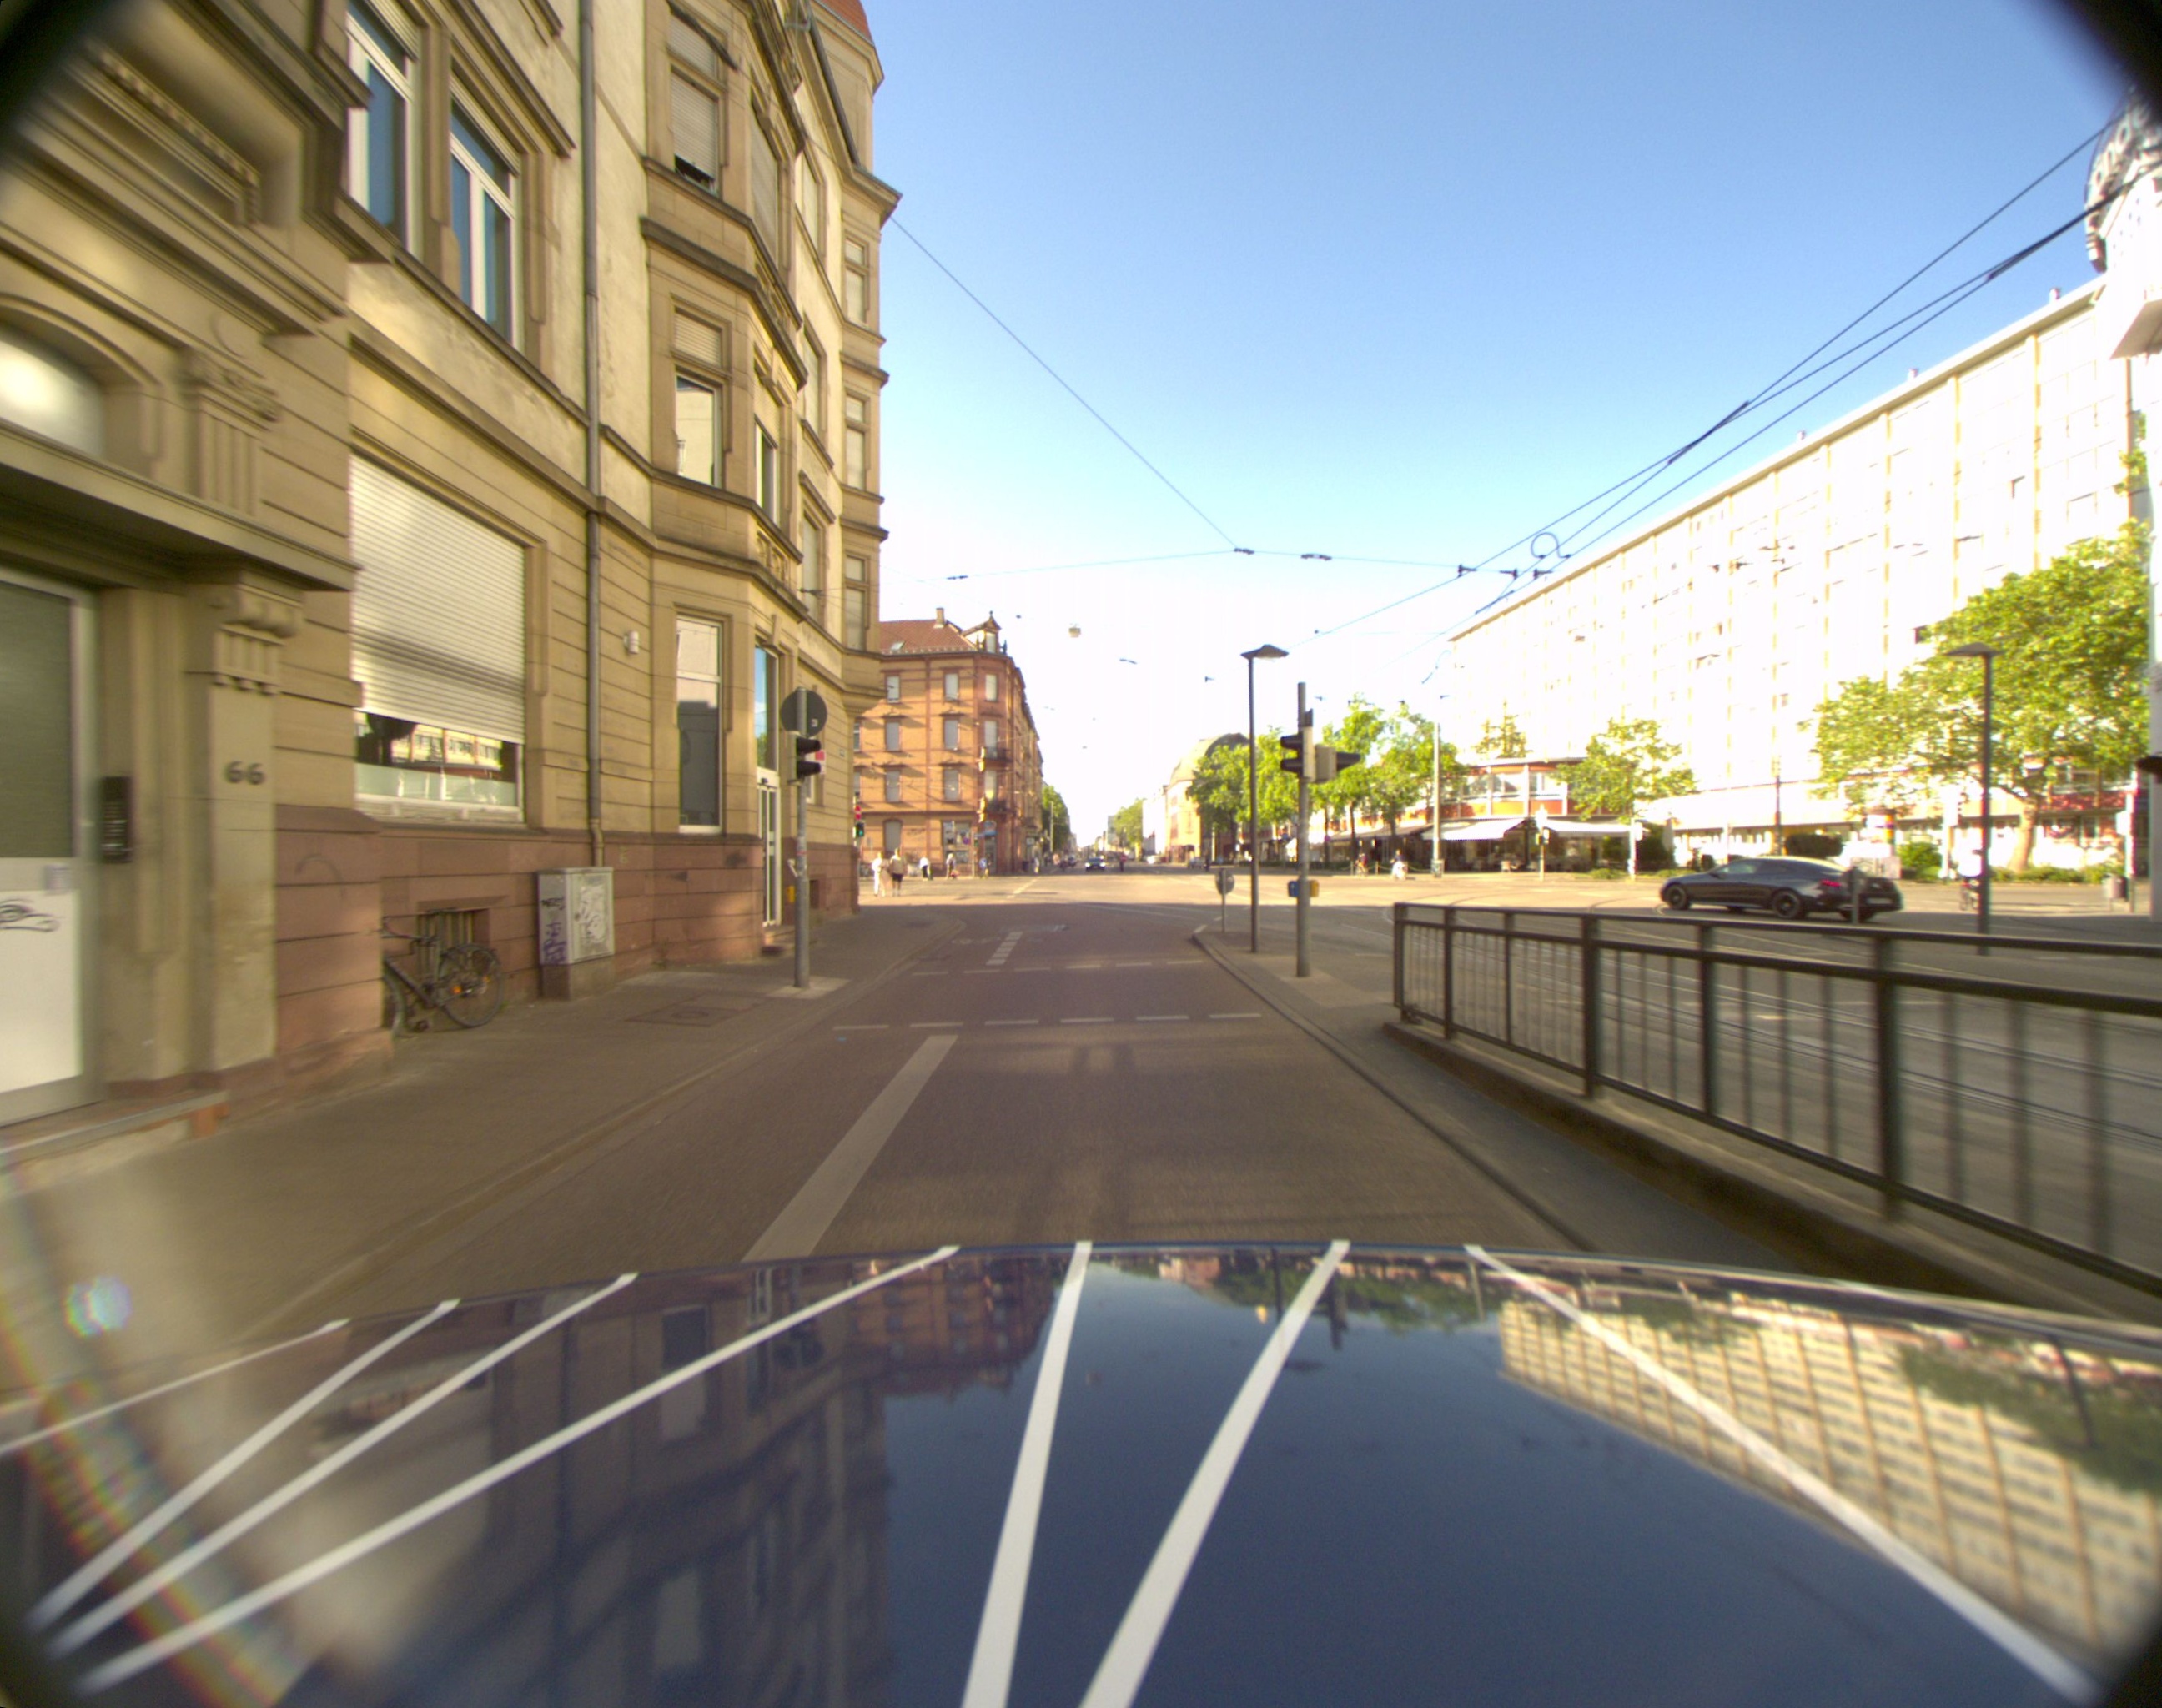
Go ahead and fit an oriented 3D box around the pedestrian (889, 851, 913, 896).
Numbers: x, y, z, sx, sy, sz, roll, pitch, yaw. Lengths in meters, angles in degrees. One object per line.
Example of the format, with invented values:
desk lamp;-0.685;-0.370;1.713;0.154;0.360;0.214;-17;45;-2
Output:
pedestrian;-6.677;0.721;28.200;0.702;1.645;0.632;1;2;5

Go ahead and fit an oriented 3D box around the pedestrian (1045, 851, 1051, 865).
pedestrian;-4.670;0.567;107.320;0.686;1.901;1.063;-1;2;3

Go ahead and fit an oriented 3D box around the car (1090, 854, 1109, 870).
car;1.789;0.773;75.744;1.815;1.415;4.153;-1;1;0

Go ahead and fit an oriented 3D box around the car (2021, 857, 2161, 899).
car;41.145;0.947;30.766;3.999;1.587;1.998;1;2;-7

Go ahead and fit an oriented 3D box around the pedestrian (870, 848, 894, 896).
pedestrian;-7.362;0.670;28.142;0.645;1.735;0.705;-1;2;0

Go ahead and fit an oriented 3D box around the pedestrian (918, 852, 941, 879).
pedestrian;-9.311;0.688;46.610;1.006;1.623;0.927;2;2;41

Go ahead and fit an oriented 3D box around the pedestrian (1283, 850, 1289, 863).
pedestrian;27.065;0.309;100.521;0.574;1.762;0.706;1;1;2

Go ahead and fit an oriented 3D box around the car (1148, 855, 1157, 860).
car;18.275;0.869;193.774;1.856;1.445;3.853;0;0;1

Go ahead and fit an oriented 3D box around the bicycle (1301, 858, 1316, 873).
bicycle;18.694;0.971;62.399;0.498;1.179;2.235;1;0;-1

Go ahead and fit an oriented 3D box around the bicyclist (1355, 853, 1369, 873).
bicyclist;18.665;0.566;50.464;0.590;1.278;0.927;1;2;1

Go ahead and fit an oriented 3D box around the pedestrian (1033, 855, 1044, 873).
pedestrian;-3.658;0.871;65.739;0.684;1.598;0.729;0;1;-26

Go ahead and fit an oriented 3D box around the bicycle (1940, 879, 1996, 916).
bicycle;25.459;1.227;21.800;2.051;0.967;0.594;0;2;-28

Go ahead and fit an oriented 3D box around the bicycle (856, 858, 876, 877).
bicycle;-13.856;0.864;49.010;0.650;1.202;2.311;1;-1;-2

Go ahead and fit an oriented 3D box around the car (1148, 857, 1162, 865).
car;13.338;1.203;137.140;1.999;1.443;4.501;1;0;-1

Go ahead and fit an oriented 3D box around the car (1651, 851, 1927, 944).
car;16.460;0.904;18.103;2.233;1.900;4.608;0;1;0

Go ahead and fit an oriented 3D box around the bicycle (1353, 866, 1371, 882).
bicycle;18.679;1.324;50.542;0.595;0.967;1.817;1;2;1

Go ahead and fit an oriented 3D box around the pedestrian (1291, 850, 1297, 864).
pedestrian;28.156;0.402;100.467;0.574;1.740;0.706;1;1;2

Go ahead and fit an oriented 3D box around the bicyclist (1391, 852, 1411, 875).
bicyclist;18.075;0.542;42.949;0.590;1.278;0.991;0;2;-9

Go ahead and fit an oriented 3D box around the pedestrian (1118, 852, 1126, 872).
pedestrian;3.661;0.742;67.571;0.559;1.753;0.895;2;1;0

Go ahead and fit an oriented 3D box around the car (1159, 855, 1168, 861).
car;18.210;0.862;167.809;1.753;1.445;3.471;0;0;-1

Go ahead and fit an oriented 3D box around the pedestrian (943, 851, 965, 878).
pedestrian;-7.727;0.642;46.377;0.939;1.623;0.927;2;2;31

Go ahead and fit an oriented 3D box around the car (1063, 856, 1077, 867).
car;-1.438;1.015;102.229;1.694;1.442;4.359;-1;0;0

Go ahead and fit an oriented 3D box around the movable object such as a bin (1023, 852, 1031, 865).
movable object such as a bin;-4.872;0.404;68.495;0.664;1.066;0.545;3;1;3

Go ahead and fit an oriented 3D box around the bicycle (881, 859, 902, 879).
bicycle;-11.987;0.953;48.155;0.753;1.202;2.311;1;-1;-2

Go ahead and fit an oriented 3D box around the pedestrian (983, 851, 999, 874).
pedestrian;-6.123;0.595;51.624;0.633;1.529;0.944;2;2;32

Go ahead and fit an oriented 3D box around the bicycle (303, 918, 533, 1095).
bicycle;-5.251;1.138;6.174;0.256;1.046;1.768;-1;2;1

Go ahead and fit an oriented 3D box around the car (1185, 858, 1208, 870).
car;14.164;1.225;93.052;1.999;1.443;4.649;1;0;-1

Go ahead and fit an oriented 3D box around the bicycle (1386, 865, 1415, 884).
bicycle;18.071;1.157;43.038;0.596;0.967;1.852;0;2;-9

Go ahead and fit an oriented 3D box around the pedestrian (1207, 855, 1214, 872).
pedestrian;11.874;0.896;69.637;0.501;1.509;0.859;2;1;0

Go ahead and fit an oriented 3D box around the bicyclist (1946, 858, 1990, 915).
bicyclist;25.334;0.901;21.711;0.897;1.576;0.589;0;2;-28
